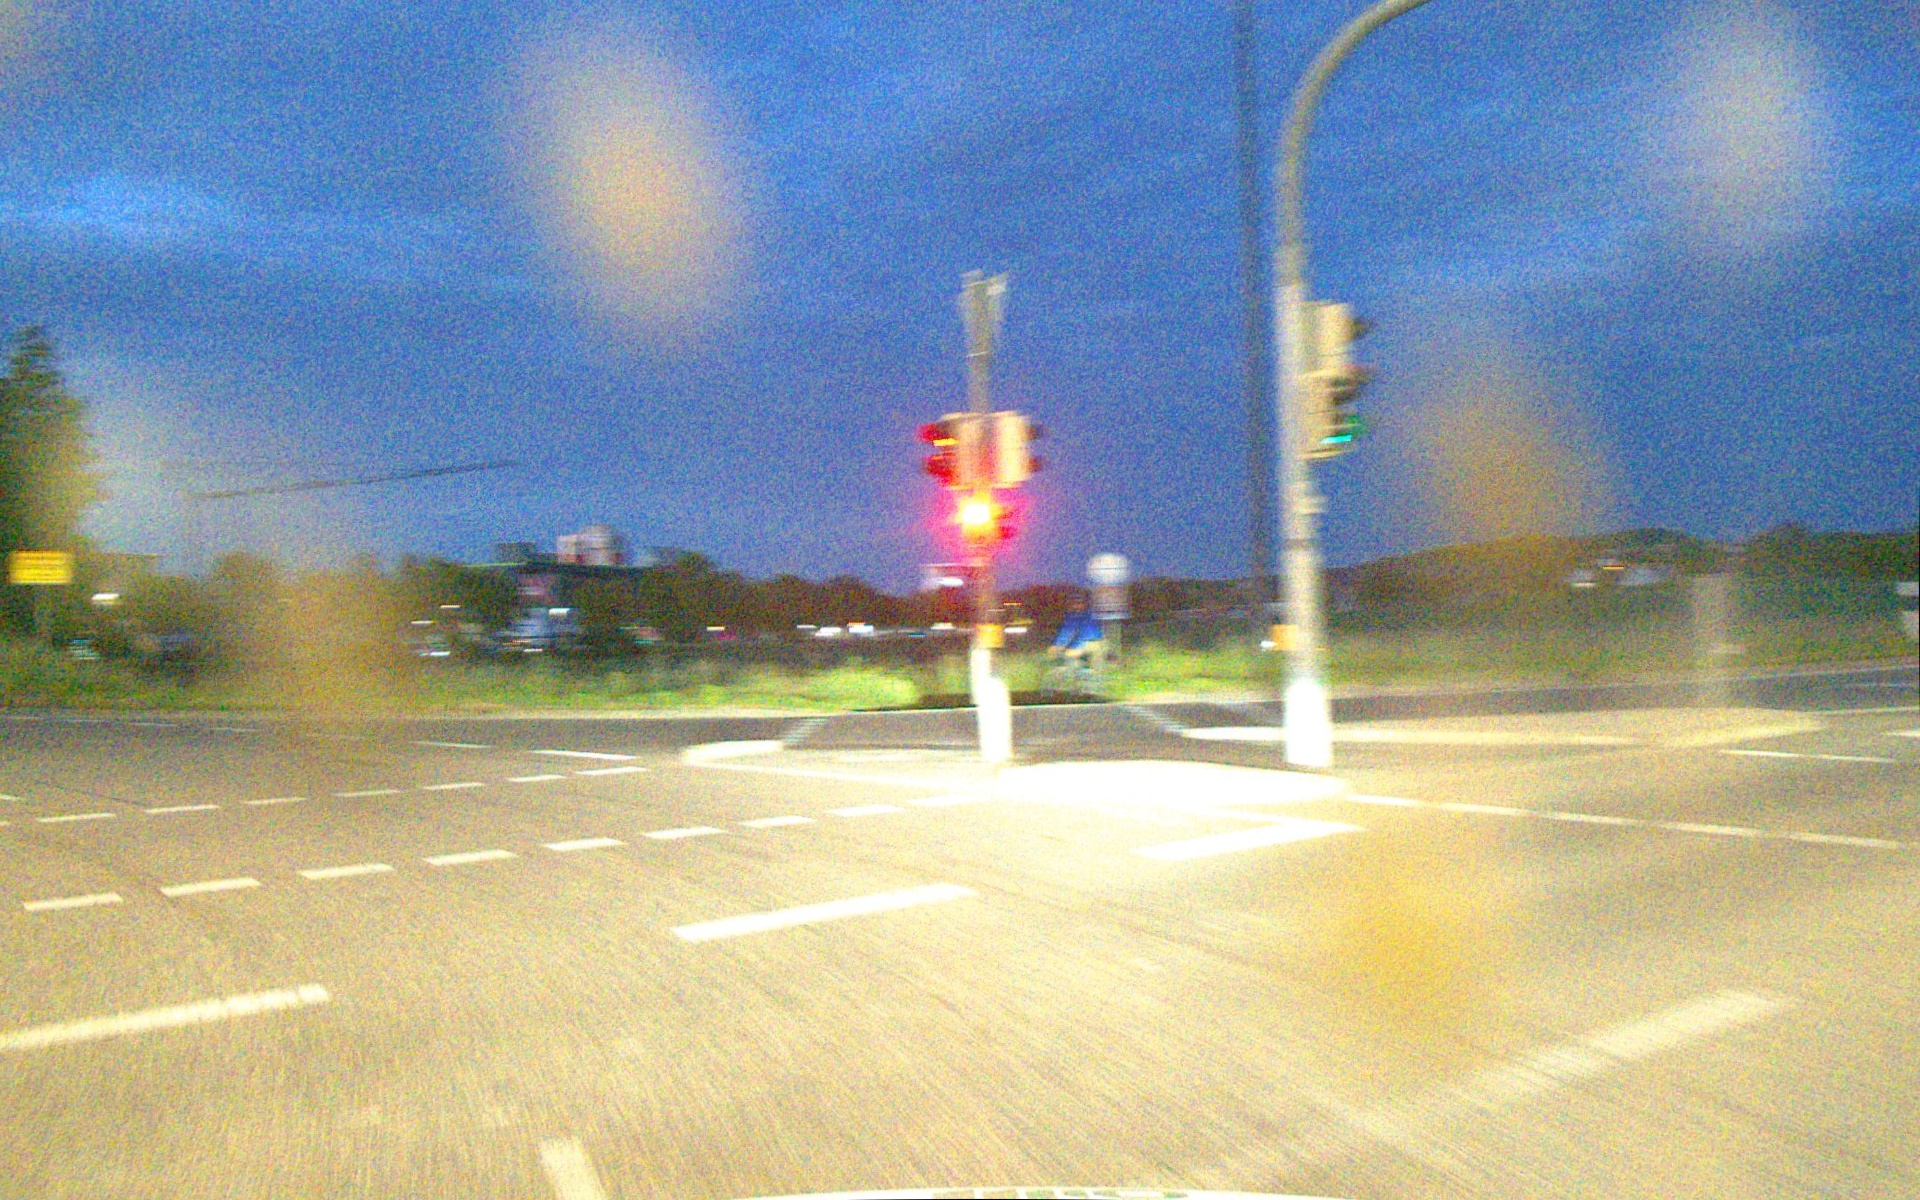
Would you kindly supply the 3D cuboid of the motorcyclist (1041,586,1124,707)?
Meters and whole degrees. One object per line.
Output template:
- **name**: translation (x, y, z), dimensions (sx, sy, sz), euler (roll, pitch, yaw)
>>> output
- **motorcyclist**: translation (1.948, 0.758, 26.335), dimensions (0.901, 1.841, 0.865), euler (-7, -7, 42)

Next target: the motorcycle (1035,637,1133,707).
- **motorcycle**: translation (1.984, 1.159, 26.321), dimensions (0.710, 1.051, 1.567), euler (-7, -7, 42)

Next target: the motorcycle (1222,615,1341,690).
- **motorcycle**: translation (5.591, 0.925, 28.812), dimensions (1.784, 1.202, 0.847), euler (-1, -5, -13)

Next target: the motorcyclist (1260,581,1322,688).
- **motorcyclist**: translation (5.765, 0.606, 28.850), dimensions (0.774, 1.790, 0.682), euler (-1, -5, -12)

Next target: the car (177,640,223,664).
- **car**: translation (-69.921, 4.756, 152.131), dimensions (1.951, 2.049, 4.004), euler (0, 0, 9)
